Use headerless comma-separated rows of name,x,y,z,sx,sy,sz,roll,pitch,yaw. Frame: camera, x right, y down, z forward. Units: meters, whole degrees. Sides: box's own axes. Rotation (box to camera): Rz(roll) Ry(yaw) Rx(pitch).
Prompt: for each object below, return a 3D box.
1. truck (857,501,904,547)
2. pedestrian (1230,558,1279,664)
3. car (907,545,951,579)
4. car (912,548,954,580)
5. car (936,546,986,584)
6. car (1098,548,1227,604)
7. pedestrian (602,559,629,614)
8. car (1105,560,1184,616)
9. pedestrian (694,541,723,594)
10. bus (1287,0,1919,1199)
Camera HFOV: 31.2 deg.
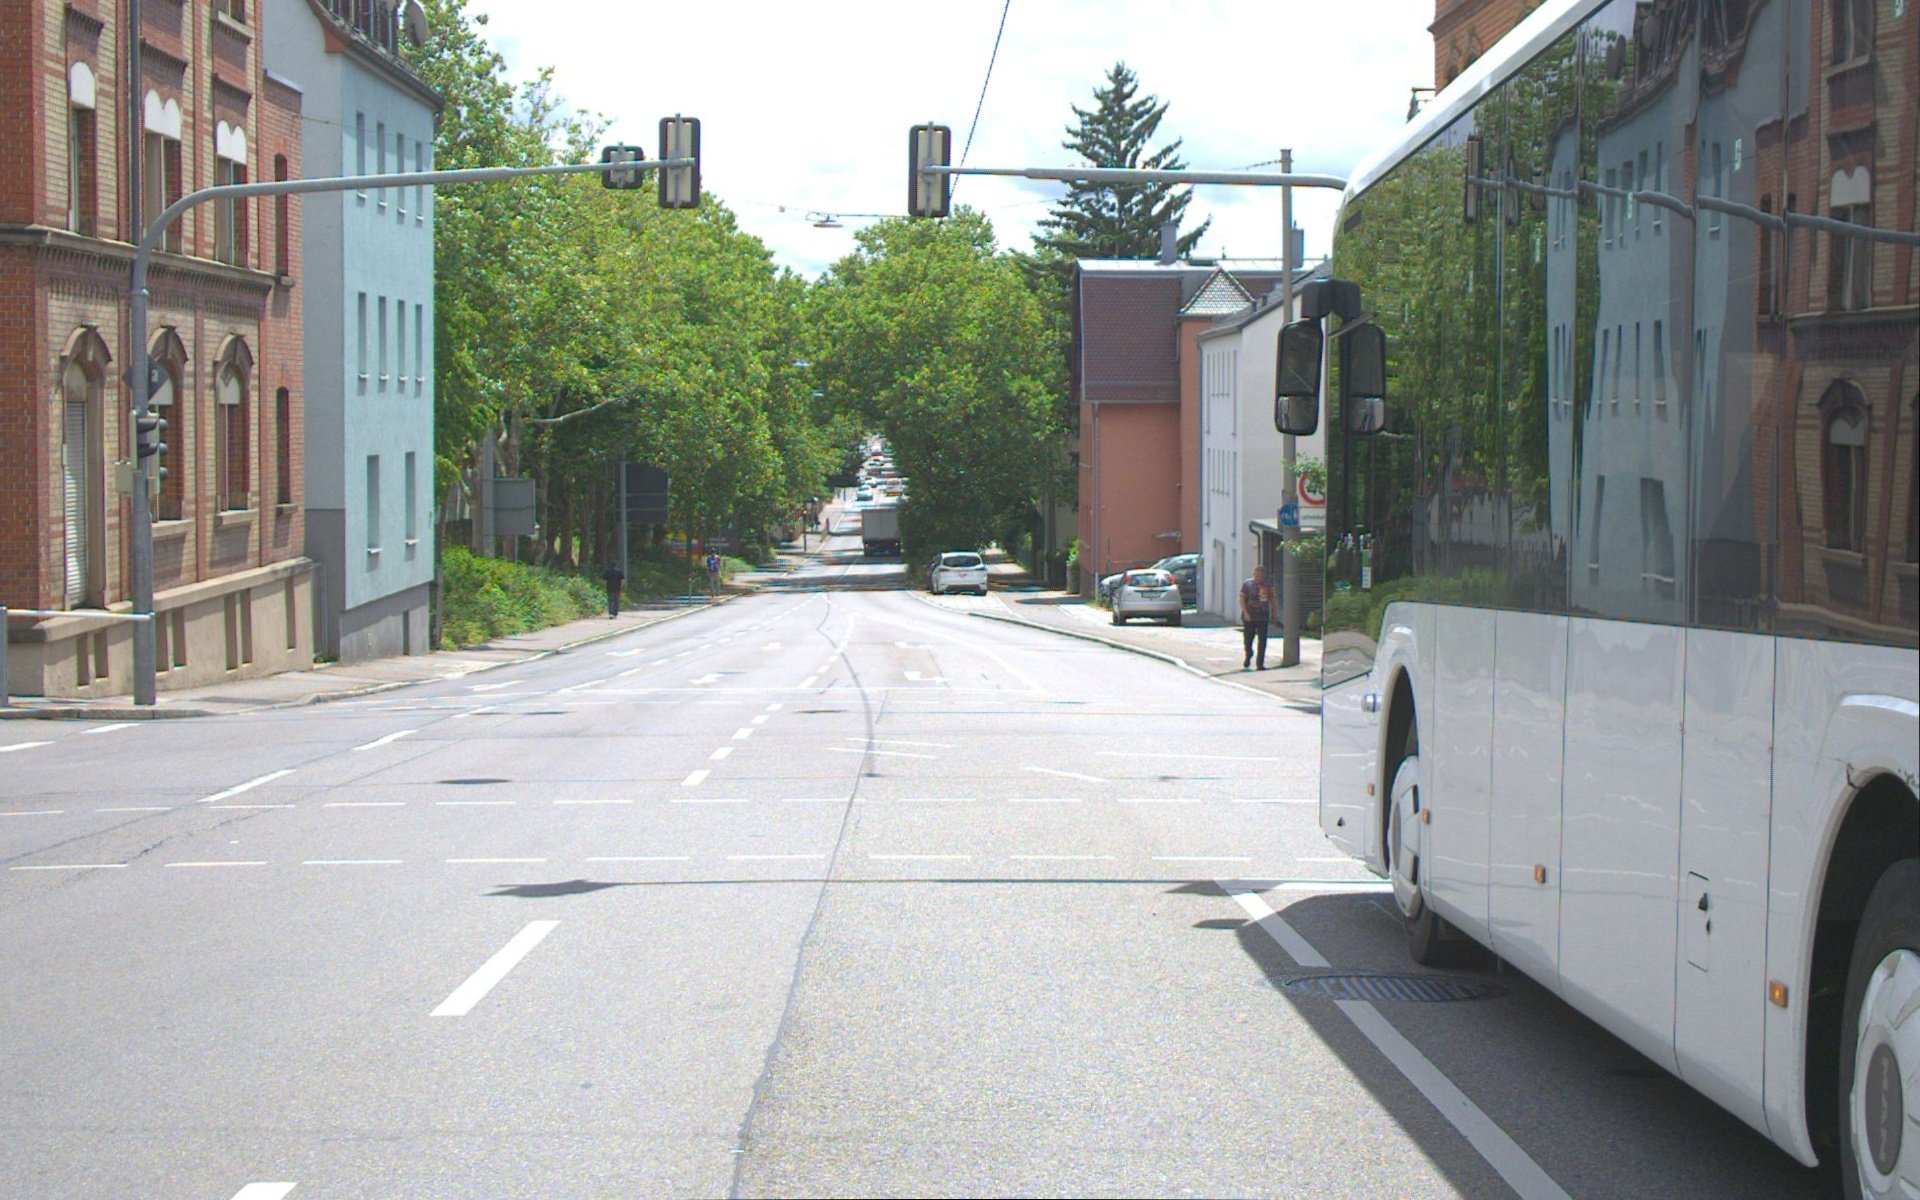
truck,-5.476,-5.195,235.307,2.926,3.070,7.886,-1,1,-3
pedestrian,4.918,0.186,57.378,0.738,1.744,0.619,-1,1,-1
car,-1.289,-1.607,145.829,1.794,1.405,4.419,1,1,0
car,-1.190,-1.613,153.936,1.794,1.405,4.419,1,1,0
car,0.024,-1.327,129.454,1.794,1.405,4.000,1,1,0
car,6.656,-0.800,113.173,3.986,1.751,2.000,-1,1,-5
pedestrian,-9.850,-0.398,98.352,0.729,1.560,0.561,0,1,-1
car,4.980,-0.348,93.074,1.794,1.405,4.001,-1,1,-2
pedestrian,-9.532,-1.241,130.414,0.995,2.007,1.189,-1,1,-1
bus,2.871,-0.233,9.304,2.672,3.145,12.462,-1,1,0
